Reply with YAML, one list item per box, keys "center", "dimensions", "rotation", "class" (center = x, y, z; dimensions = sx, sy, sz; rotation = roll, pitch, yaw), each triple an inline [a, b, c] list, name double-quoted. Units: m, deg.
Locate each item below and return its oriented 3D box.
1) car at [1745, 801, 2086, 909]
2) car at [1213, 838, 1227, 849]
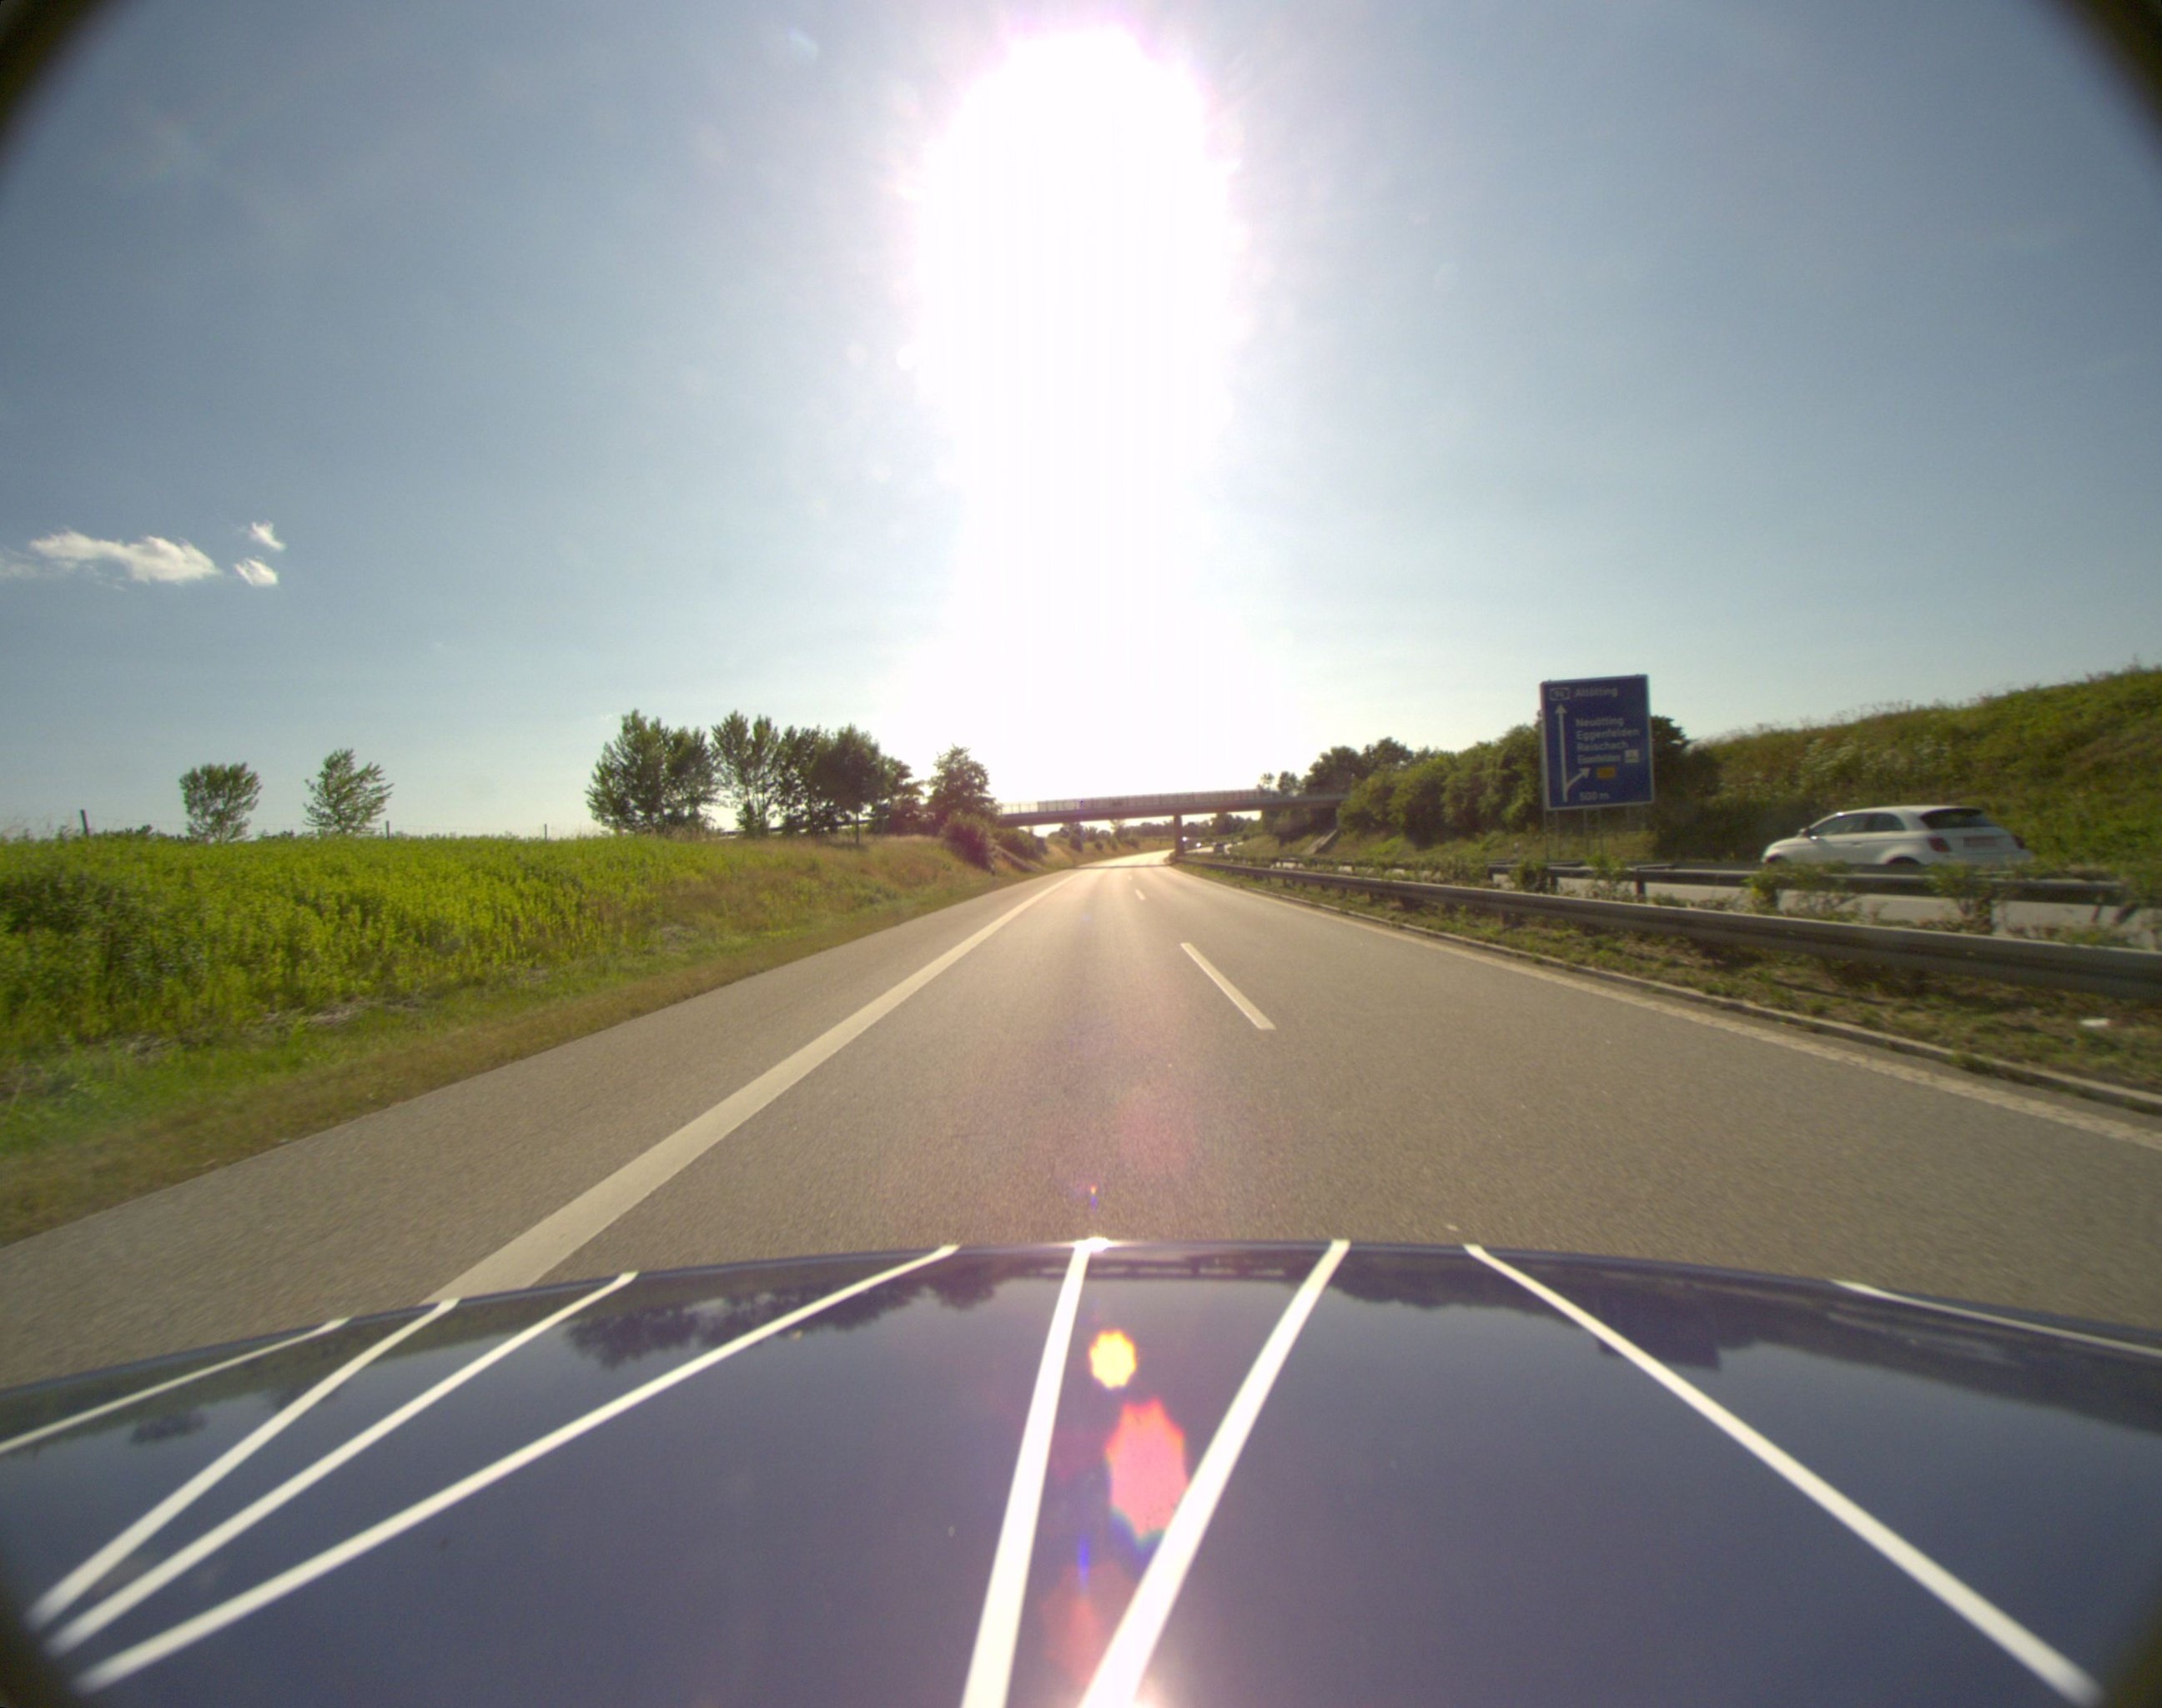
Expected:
- center: [14.662, -0.007, 13.762]
  dimensions: [1.861, 1.589, 4.000]
  rotation: [-2, 1, 2]
  class: "car"
- center: [24.144, -1.888, 132.490]
  dimensions: [1.860, 1.846, 4.623]
  rotation: [-2, 1, 4]
  class: "car"
